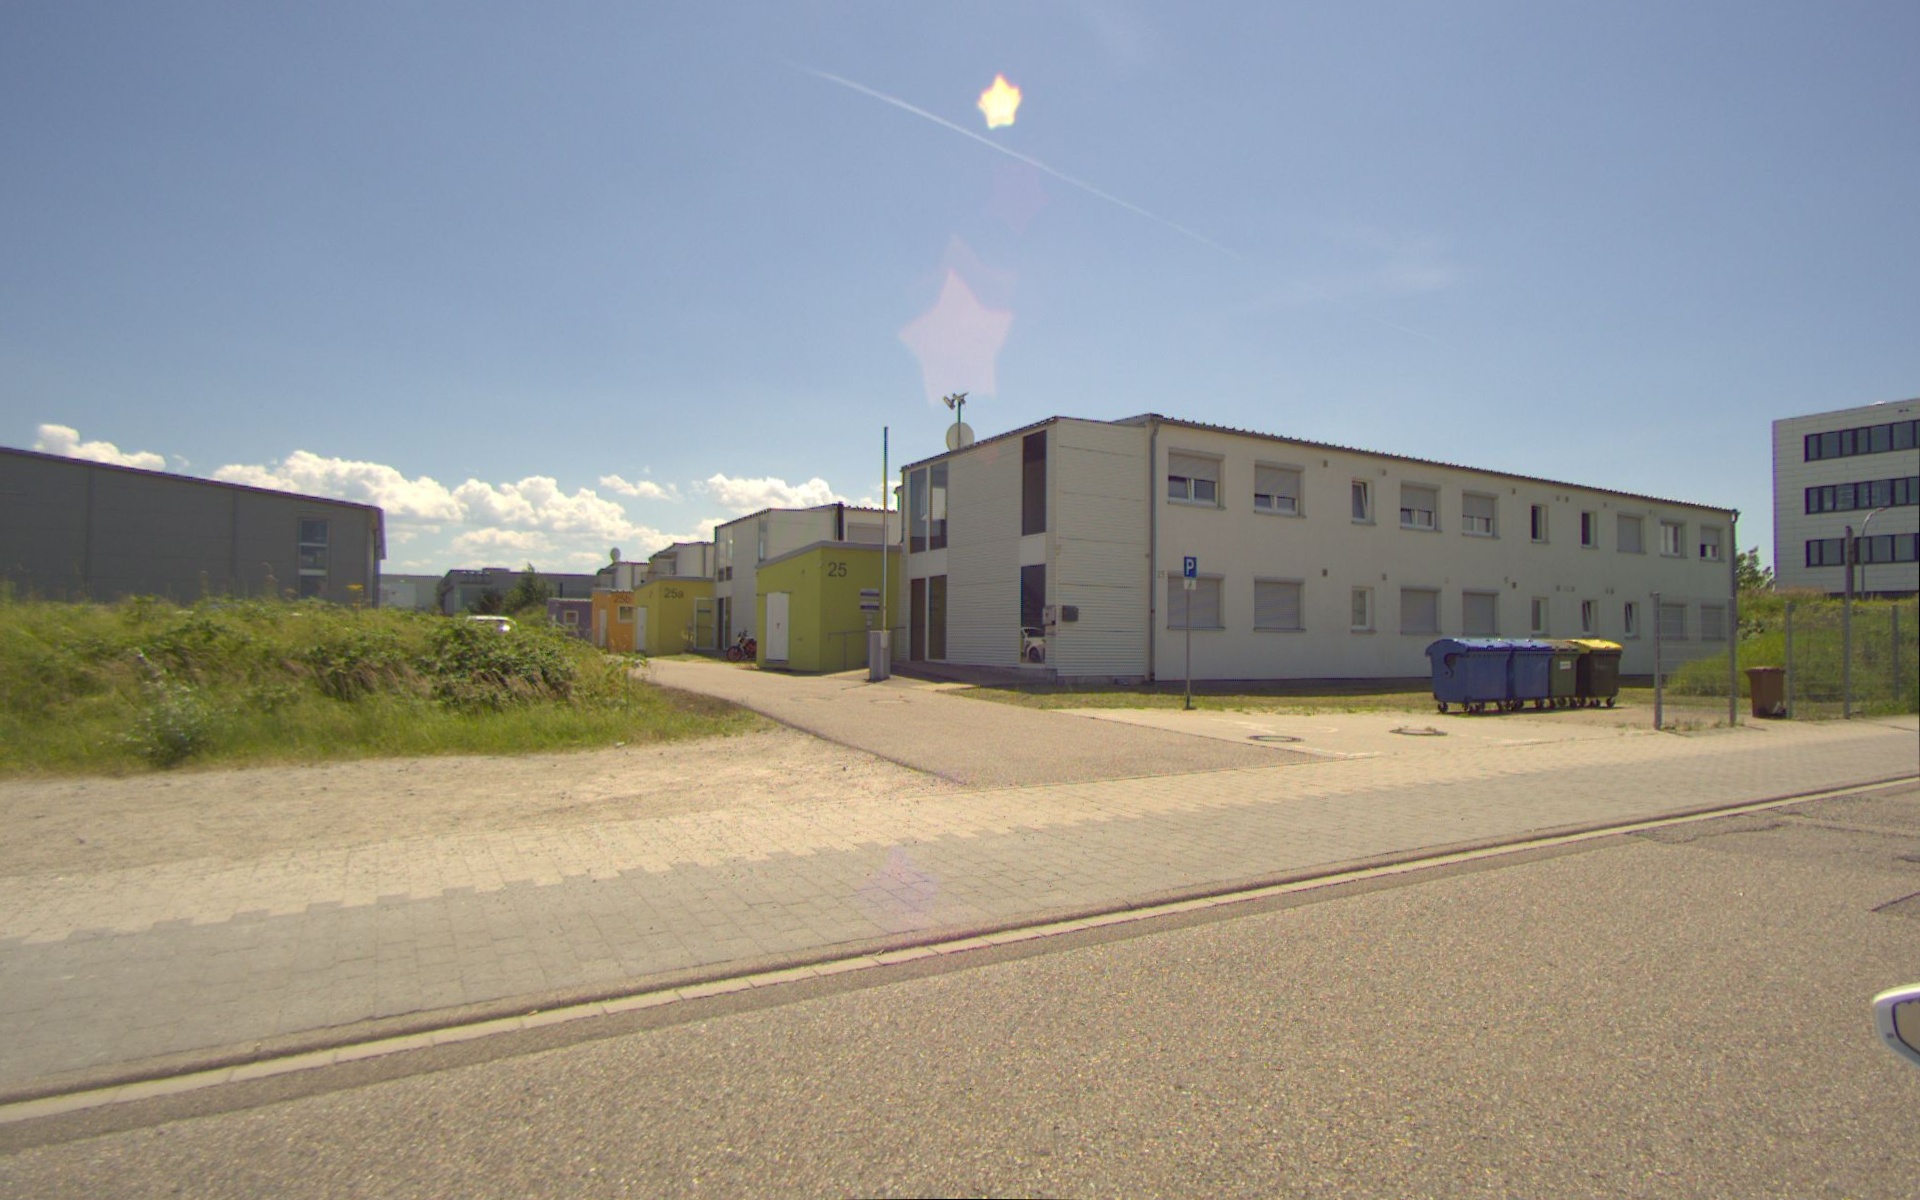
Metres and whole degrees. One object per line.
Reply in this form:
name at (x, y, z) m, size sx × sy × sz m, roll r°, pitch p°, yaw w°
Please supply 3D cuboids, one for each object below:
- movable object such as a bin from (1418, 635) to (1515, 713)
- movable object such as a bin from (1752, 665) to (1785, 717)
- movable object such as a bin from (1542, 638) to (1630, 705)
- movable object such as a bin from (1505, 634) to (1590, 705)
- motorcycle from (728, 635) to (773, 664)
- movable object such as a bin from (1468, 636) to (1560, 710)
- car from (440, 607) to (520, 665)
movable object such as a bin at (10.148, 1.465, 20.133) m, size 1.416 × 1.467 × 1.139 m, roll 2°, pitch -2°, yaw -27°
movable object such as a bin at (15.031, 1.688, 18.670) m, size 0.490 × 0.952 × 0.303 m, roll 2°, pitch -2°, yaw -28°
movable object such as a bin at (13.955, 1.581, 22.408) m, size 1.370 × 1.423 × 1.138 m, roll 2°, pitch -2°, yaw -28°
movable object such as a bin at (12.703, 1.489, 21.731) m, size 1.373 × 1.467 × 1.082 m, roll 2°, pitch -2°, yaw -31°
motorcycle at (-7.779, 1.840, 37.316) m, size 1.601 × 0.977 × 0.369 m, roll 2°, pitch 0°, yaw -7°
movable object such as a bin at (11.524, 1.510, 20.918) m, size 1.354 × 1.467 × 1.120 m, roll 2°, pitch -2°, yaw -27°
car at (-13.497, 0.962, 28.124) m, size 1.718 × 1.416 × 3.861 m, roll 2°, pitch 0°, yaw -30°
